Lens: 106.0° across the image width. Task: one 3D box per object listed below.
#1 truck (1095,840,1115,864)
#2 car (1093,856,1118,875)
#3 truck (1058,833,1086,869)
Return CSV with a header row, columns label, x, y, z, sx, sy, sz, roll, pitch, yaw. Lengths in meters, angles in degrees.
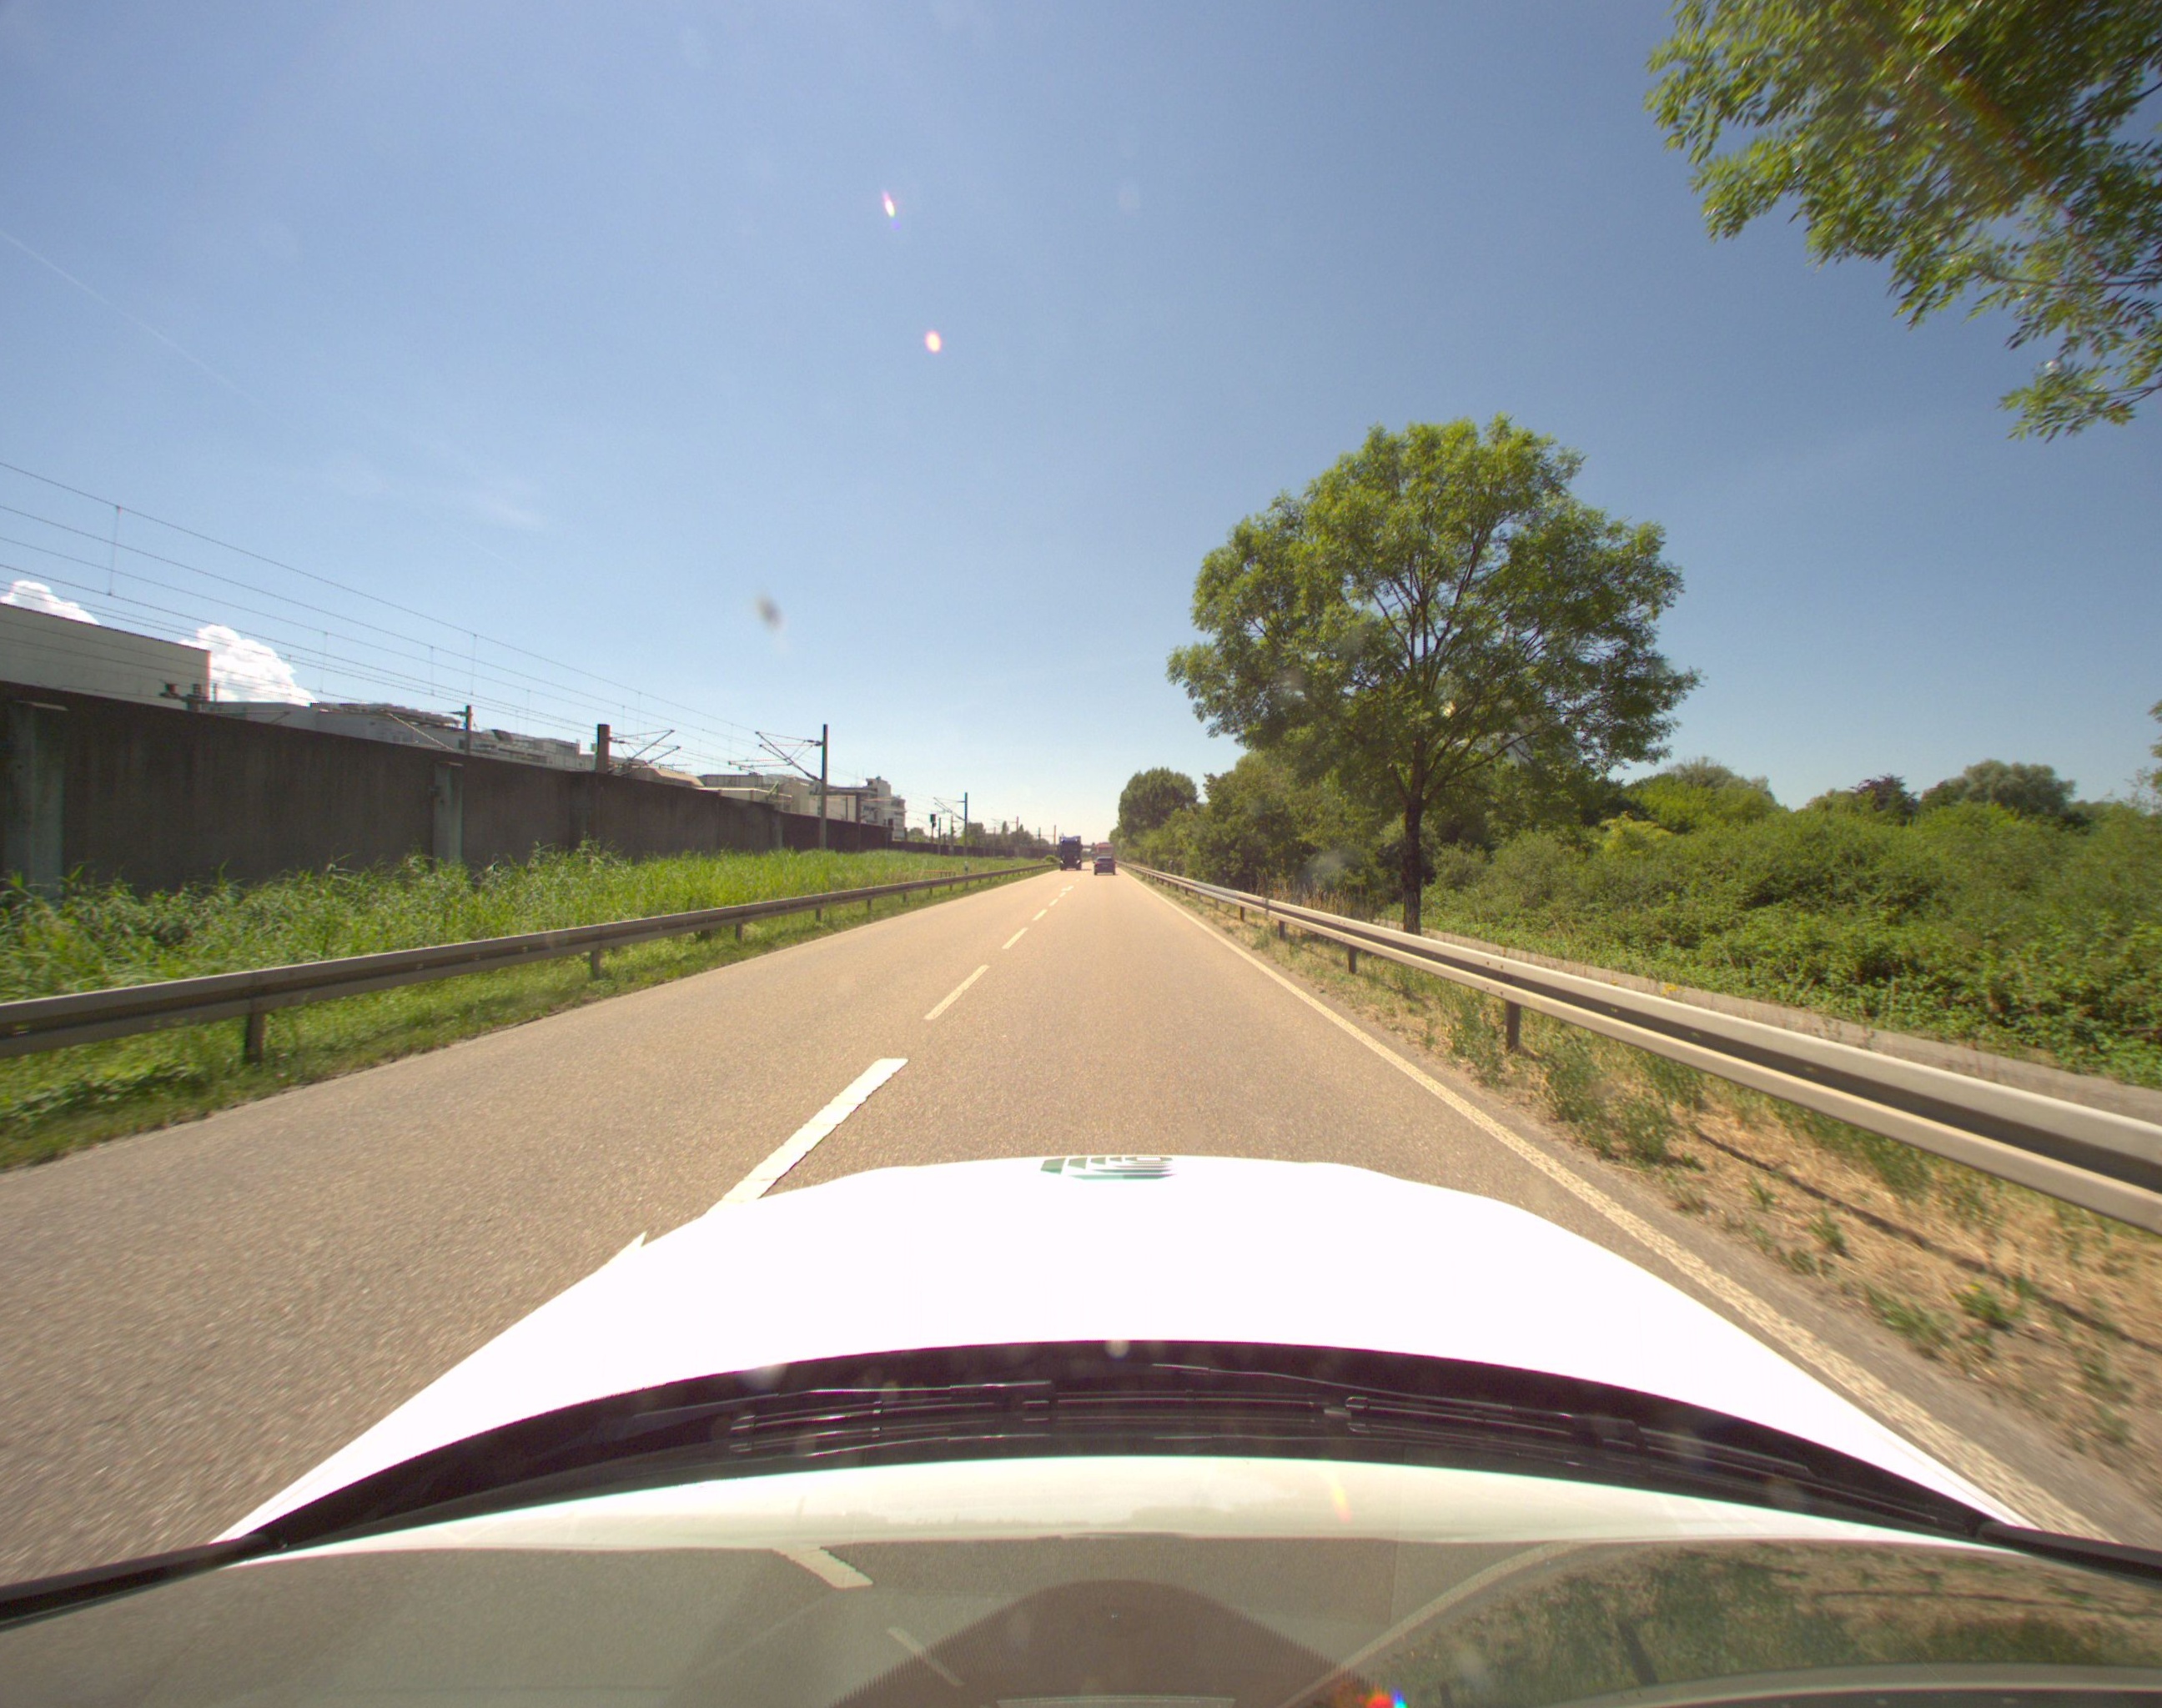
label,x,y,z,sx,sy,sz,roll,pitch,yaw
truck,3.558,-0.265,120.650,2.760,3.425,10.822,0,0,2
car,2.038,0.943,69.353,1.987,1.508,3.999,-1,0,-1
truck,-1.042,-0.310,97.858,2.787,3.978,10.503,-3,0,2
